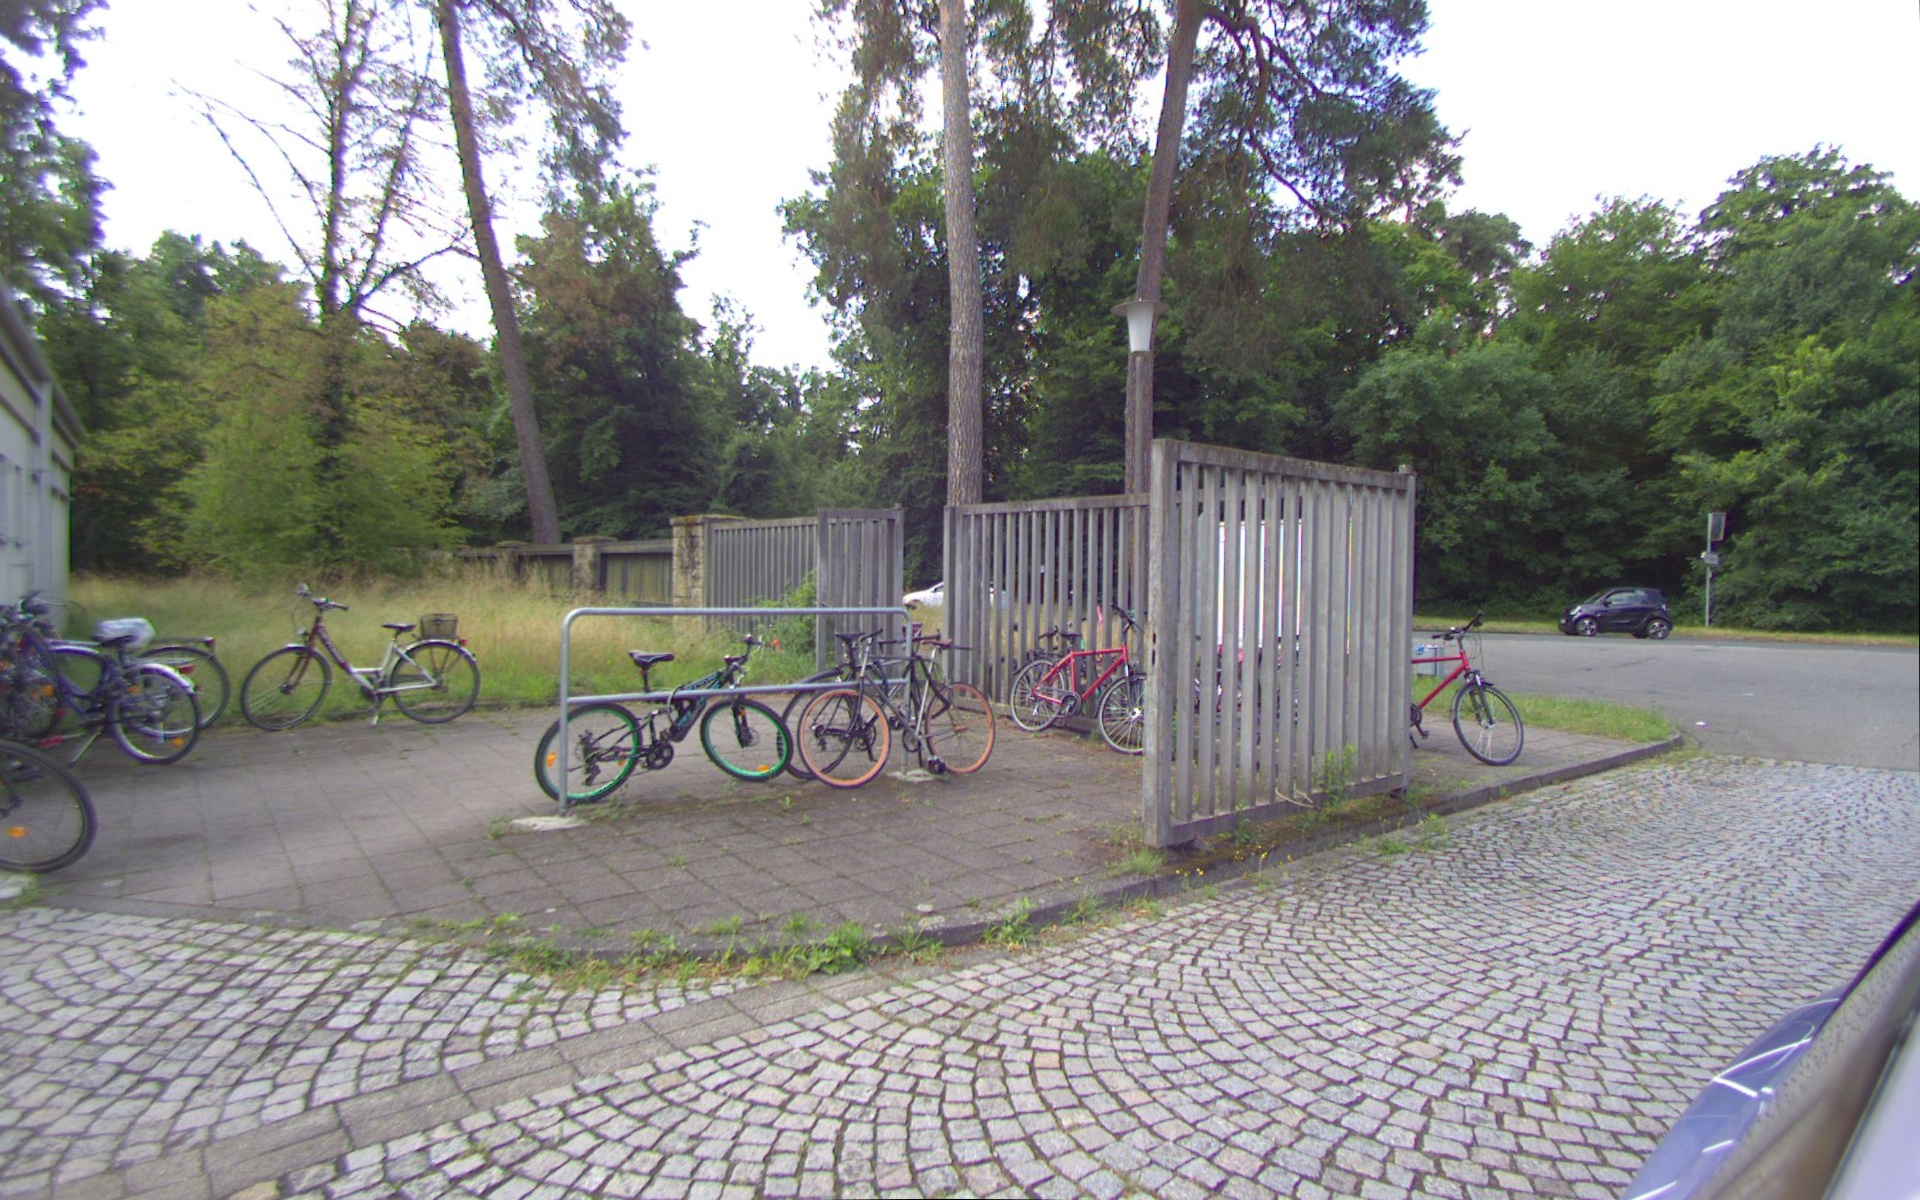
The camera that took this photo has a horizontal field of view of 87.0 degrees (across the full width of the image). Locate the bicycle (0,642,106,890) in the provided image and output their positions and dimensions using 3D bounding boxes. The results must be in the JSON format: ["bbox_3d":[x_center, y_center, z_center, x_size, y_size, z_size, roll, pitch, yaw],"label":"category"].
[{"bbox_3d":[-4.448,0.699,4.000,1.626,0.964,0.535,-1,2,-40],"label":"bicycle"}]

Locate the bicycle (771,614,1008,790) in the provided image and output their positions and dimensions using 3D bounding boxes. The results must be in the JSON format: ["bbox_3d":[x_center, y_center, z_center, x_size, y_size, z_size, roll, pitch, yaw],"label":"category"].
[{"bbox_3d":[-0.457,0.656,7.117,1.702,1.070,0.474,0,1,-40],"label":"bicycle"}]

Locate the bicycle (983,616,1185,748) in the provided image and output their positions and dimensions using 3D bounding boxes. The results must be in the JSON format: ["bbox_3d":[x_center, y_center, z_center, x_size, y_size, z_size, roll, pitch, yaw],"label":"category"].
[{"bbox_3d":[1.057,0.678,9.037,0.495,0.951,1.864,0,3,-45],"label":"bicycle"}]

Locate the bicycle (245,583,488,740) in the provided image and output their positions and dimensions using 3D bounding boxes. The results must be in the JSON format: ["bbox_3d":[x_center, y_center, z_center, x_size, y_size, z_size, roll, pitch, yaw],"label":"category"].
[{"bbox_3d":[-4.807,0.453,8.253,1.648,1.153,0.649,0,1,-34],"label":"bicycle"}]

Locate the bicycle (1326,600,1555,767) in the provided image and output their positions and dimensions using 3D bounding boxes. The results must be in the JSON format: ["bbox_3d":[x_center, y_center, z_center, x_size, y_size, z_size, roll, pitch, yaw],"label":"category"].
[{"bbox_3d":[4.200,0.668,8.917,1.650,1.245,0.738,4,3,43],"label":"bicycle"}]

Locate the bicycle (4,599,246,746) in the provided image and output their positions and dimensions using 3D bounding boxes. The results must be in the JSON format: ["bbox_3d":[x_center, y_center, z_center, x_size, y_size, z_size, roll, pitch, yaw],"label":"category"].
[{"bbox_3d":[-6.161,0.516,7.520,1.328,1.023,0.406,1,1,-17],"label":"bicycle"}]

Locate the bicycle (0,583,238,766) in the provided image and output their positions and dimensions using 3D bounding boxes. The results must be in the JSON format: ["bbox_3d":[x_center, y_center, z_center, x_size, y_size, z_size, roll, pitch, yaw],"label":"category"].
[{"bbox_3d":[-5.822,0.470,6.796,1.710,1.146,0.473,1,1,7],"label":"bicycle"}]

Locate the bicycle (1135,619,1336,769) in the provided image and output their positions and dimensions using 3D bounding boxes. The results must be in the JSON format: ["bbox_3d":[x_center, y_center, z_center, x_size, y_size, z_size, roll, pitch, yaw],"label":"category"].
[{"bbox_3d":[2.274,0.737,8.559,0.380,1.046,1.731,0,2,-38],"label":"bicycle"}]

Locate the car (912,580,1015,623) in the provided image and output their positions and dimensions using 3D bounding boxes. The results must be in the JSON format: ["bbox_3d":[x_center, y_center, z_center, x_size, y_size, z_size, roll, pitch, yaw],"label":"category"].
[{"bbox_3d":[0.132,0.035,37.301,3.481,1.464,1.645,2,1,20],"label":"car"}]

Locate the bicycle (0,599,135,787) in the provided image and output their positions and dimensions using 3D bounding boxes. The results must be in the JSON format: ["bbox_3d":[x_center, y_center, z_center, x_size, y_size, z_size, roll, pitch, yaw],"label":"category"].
[{"bbox_3d":[-6.001,0.530,6.229,1.723,1.059,0.453,1,1,12],"label":"bicycle"}]

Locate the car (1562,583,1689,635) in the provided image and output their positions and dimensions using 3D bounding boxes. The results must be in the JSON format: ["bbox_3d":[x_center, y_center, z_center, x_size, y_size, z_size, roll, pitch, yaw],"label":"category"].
[{"bbox_3d":[20.130,0.243,30.712,2.848,1.464,1.645,2,1,20],"label":"car"}]

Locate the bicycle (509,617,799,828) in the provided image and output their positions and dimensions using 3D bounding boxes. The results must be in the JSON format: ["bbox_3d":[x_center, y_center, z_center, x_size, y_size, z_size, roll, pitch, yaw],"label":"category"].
[{"bbox_3d":[-1.834,0.668,6.170,1.537,1.075,0.691,0,2,-40],"label":"bicycle"}]
